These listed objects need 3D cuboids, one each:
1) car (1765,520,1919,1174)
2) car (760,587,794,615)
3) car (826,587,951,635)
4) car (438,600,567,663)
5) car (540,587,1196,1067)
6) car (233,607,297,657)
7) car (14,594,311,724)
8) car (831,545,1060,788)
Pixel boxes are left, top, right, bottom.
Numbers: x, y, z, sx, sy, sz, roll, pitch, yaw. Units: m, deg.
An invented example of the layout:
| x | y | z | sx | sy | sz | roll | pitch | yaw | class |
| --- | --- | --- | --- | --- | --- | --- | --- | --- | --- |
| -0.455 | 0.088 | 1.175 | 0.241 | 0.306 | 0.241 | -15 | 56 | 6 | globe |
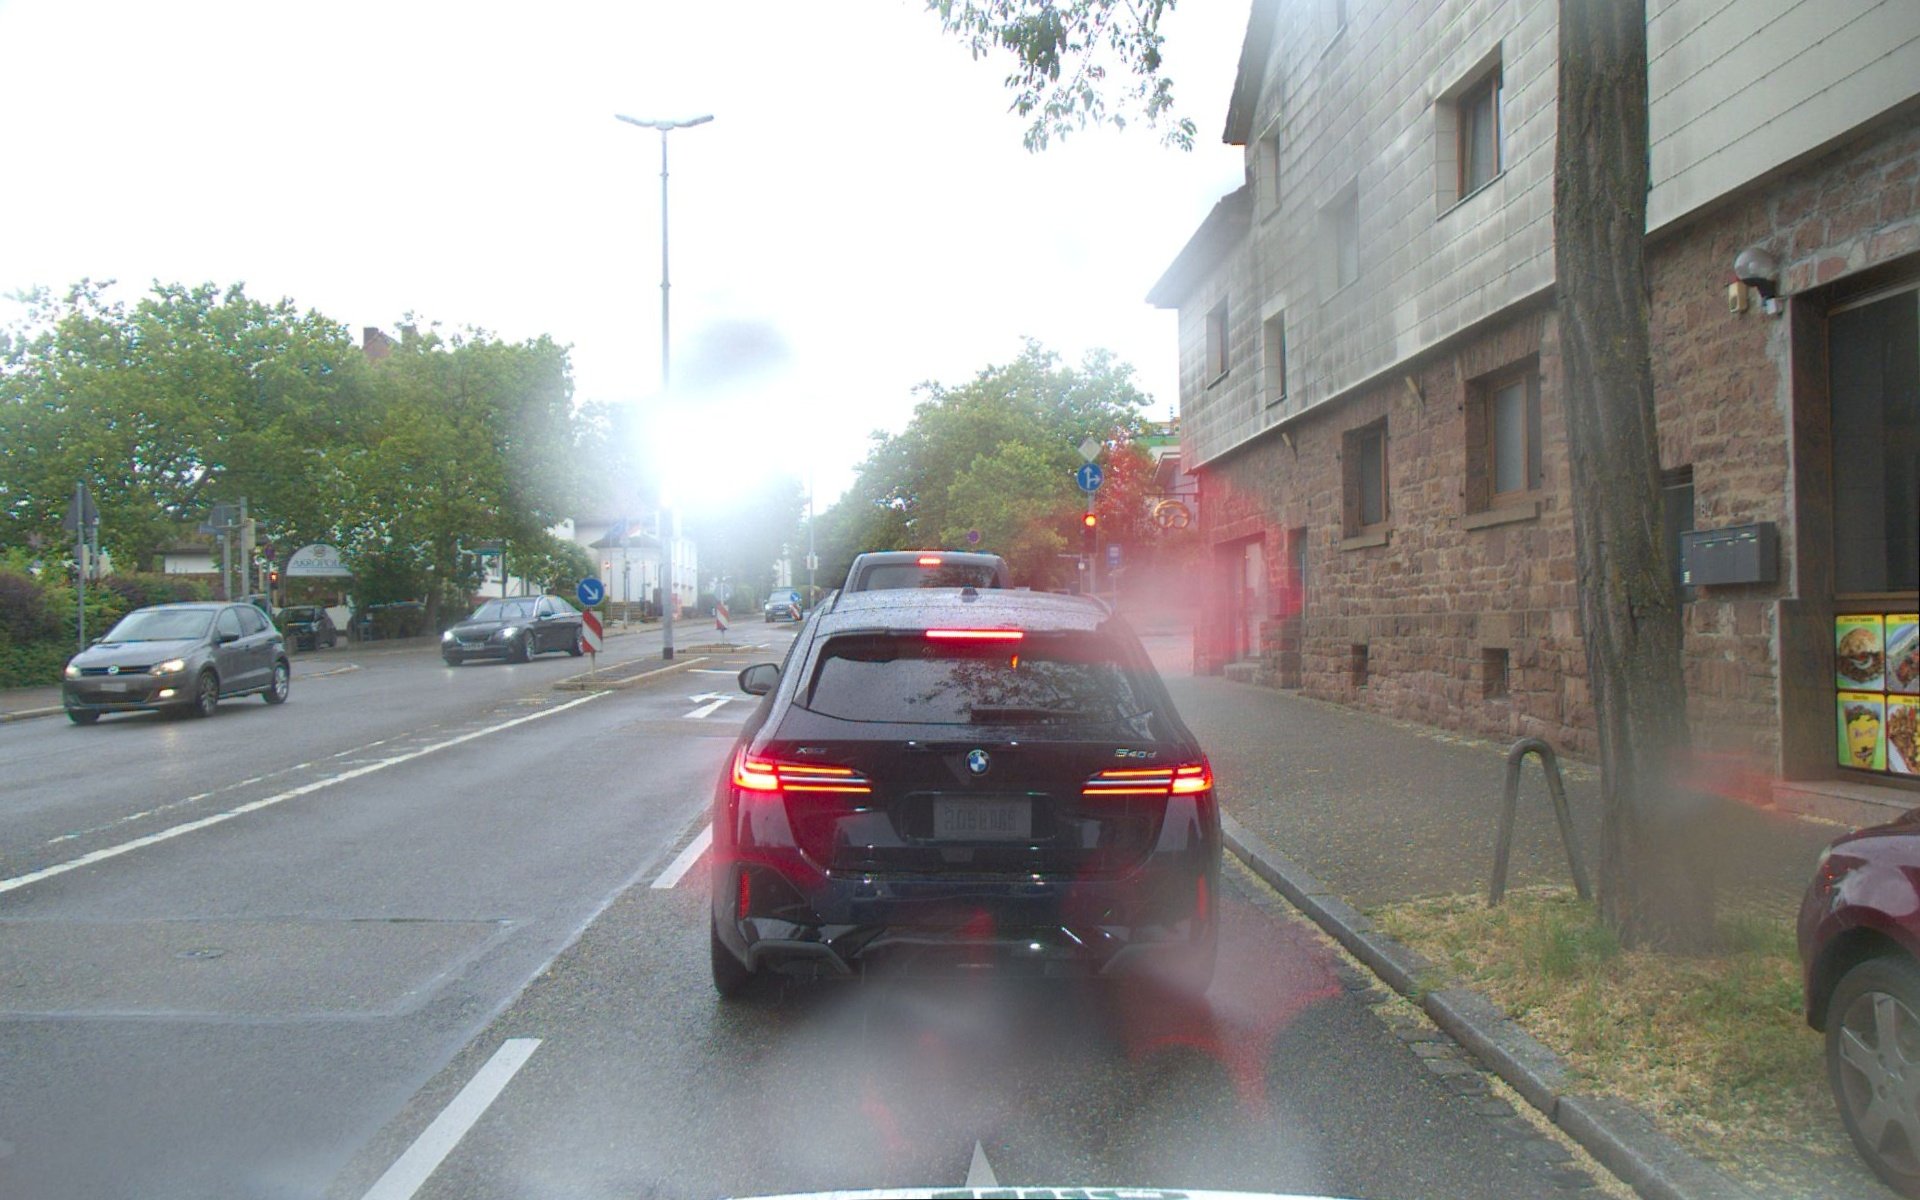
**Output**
| x | y | z | sx | sy | sz | roll | pitch | yaw | class |
| --- | --- | --- | --- | --- | --- | --- | --- | --- | --- |
| 3.042 | 0.549 | 2.606 | 1.553 | 1.516 | 3.625 | -3 | 1 | -4 | car |
| -9.378 | 0.046 | 85.046 | 1.435 | 1.422 | 3.321 | 0 | 0 | -1 | car |
| -2.400 | 0.347 | 56.210 | 3.956 | 1.579 | 1.801 | 0 | 0 | -36 | car |
| -10.324 | 0.671 | 37.592 | 1.805 | 1.311 | 4.000 | 0 | 0 | 0 | car |
| -0.398 | 0.704 | 7.384 | 2.023 | 1.472 | 4.480 | 1 | 0 | -3 | car |
| -23.785 | 1.052 | 56.693 | 1.966 | 1.579 | 3.973 | 0 | 0 | -22 | car |
| -10.294 | 0.697 | 21.708 | 1.952 | 1.536 | 3.955 | 0 | 0 | 0 | car |
| -0.209 | 0.489 | 14.652 | 1.748 | 1.849 | 3.998 | 0 | 0 | -3 | car |
